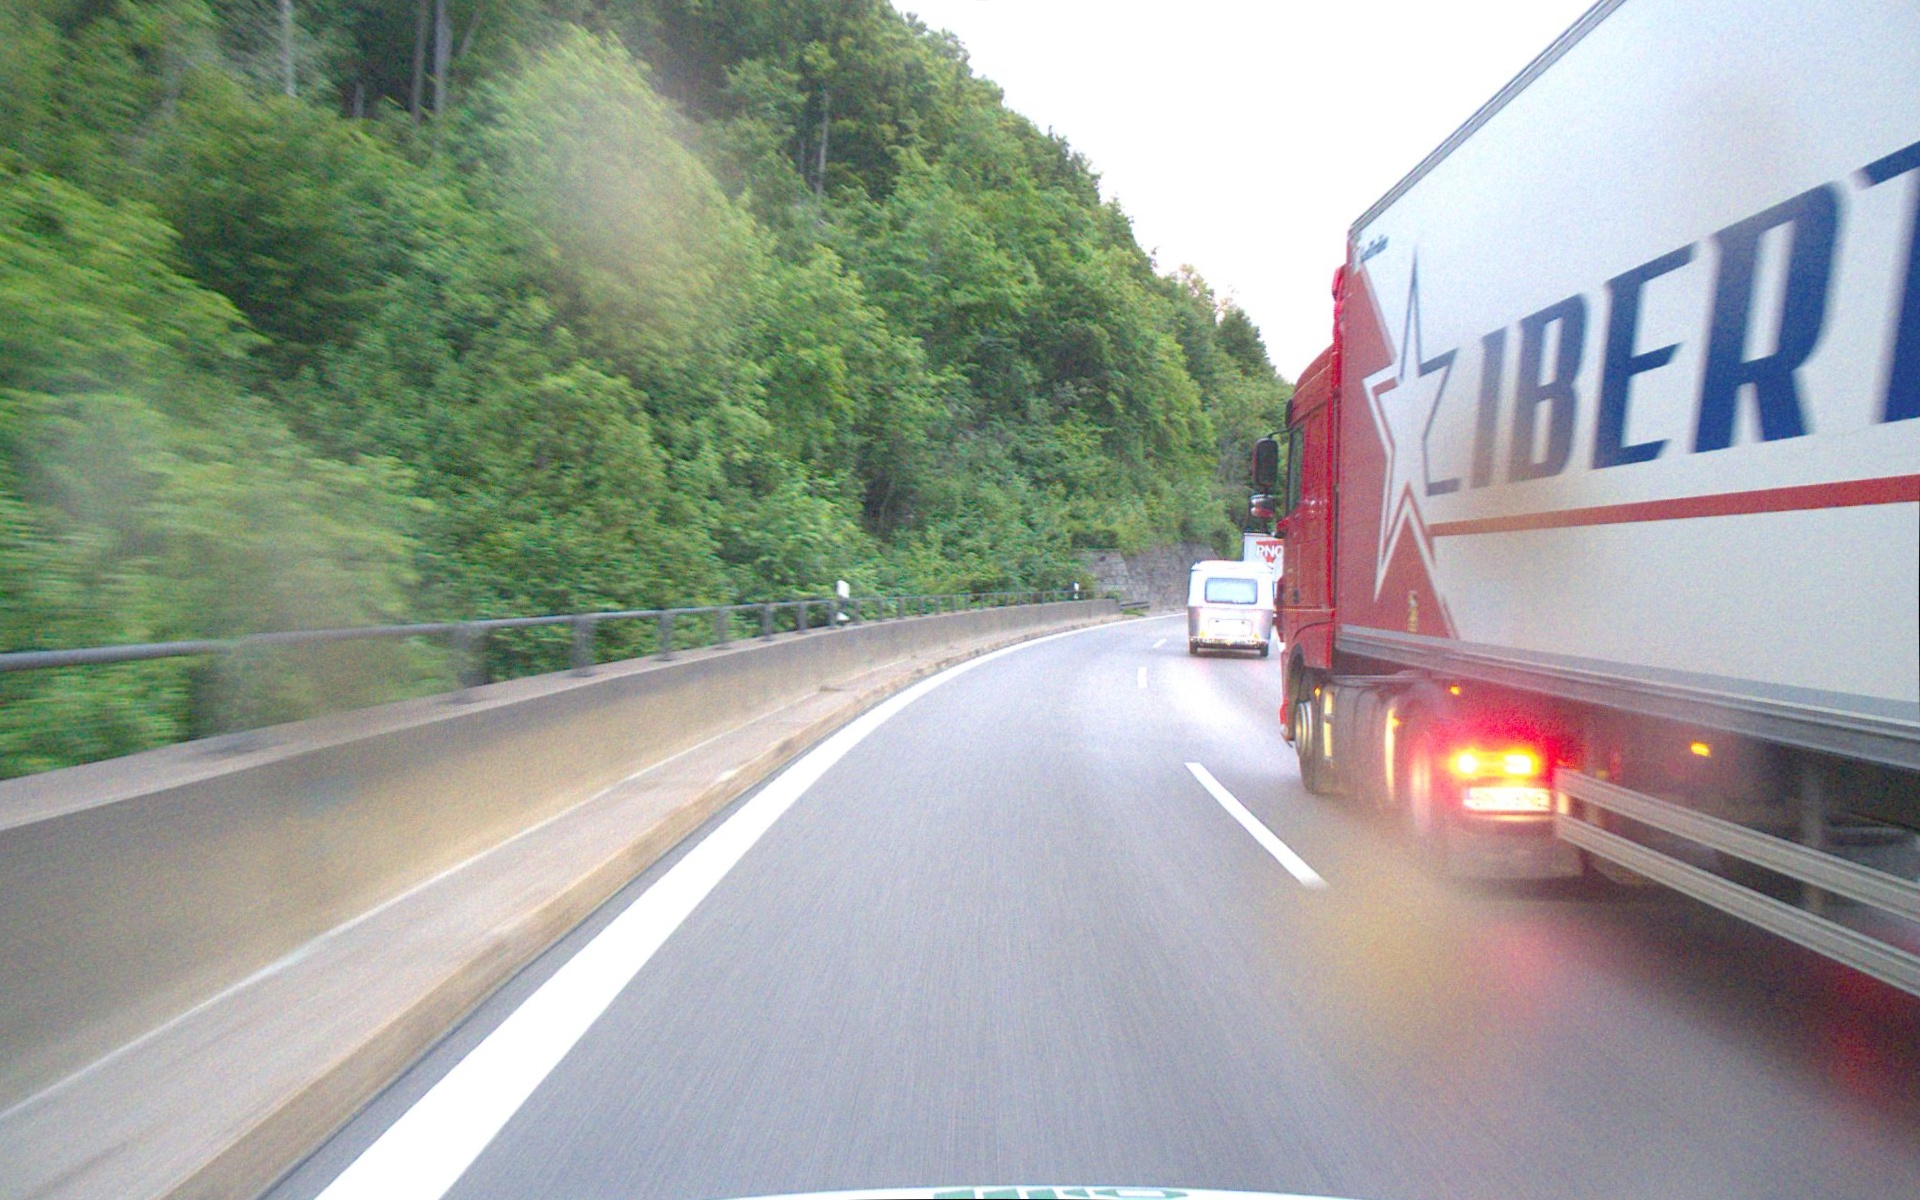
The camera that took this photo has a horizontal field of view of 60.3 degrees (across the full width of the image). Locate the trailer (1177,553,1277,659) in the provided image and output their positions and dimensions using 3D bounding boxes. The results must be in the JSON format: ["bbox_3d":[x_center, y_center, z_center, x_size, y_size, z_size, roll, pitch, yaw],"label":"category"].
[{"bbox_3d":[6.597,0.092,41.408,2.011,2.416,5.942,1,1,5],"label":"trailer"}]

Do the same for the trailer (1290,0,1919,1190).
[{"bbox_3d":[4.017,-0.489,5.205,3.034,4.039,14.217,0,0,0],"label":"trailer"}]

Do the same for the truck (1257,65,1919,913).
[{"bbox_3d":[4.193,-0.544,11.596,3.006,4.217,6.447,2,0,0],"label":"truck"}]

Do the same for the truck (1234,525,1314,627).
[{"bbox_3d":[15.034,-0.989,79.709,3.224,4.246,16.516,-3,-1,10],"label":"truck"}]
